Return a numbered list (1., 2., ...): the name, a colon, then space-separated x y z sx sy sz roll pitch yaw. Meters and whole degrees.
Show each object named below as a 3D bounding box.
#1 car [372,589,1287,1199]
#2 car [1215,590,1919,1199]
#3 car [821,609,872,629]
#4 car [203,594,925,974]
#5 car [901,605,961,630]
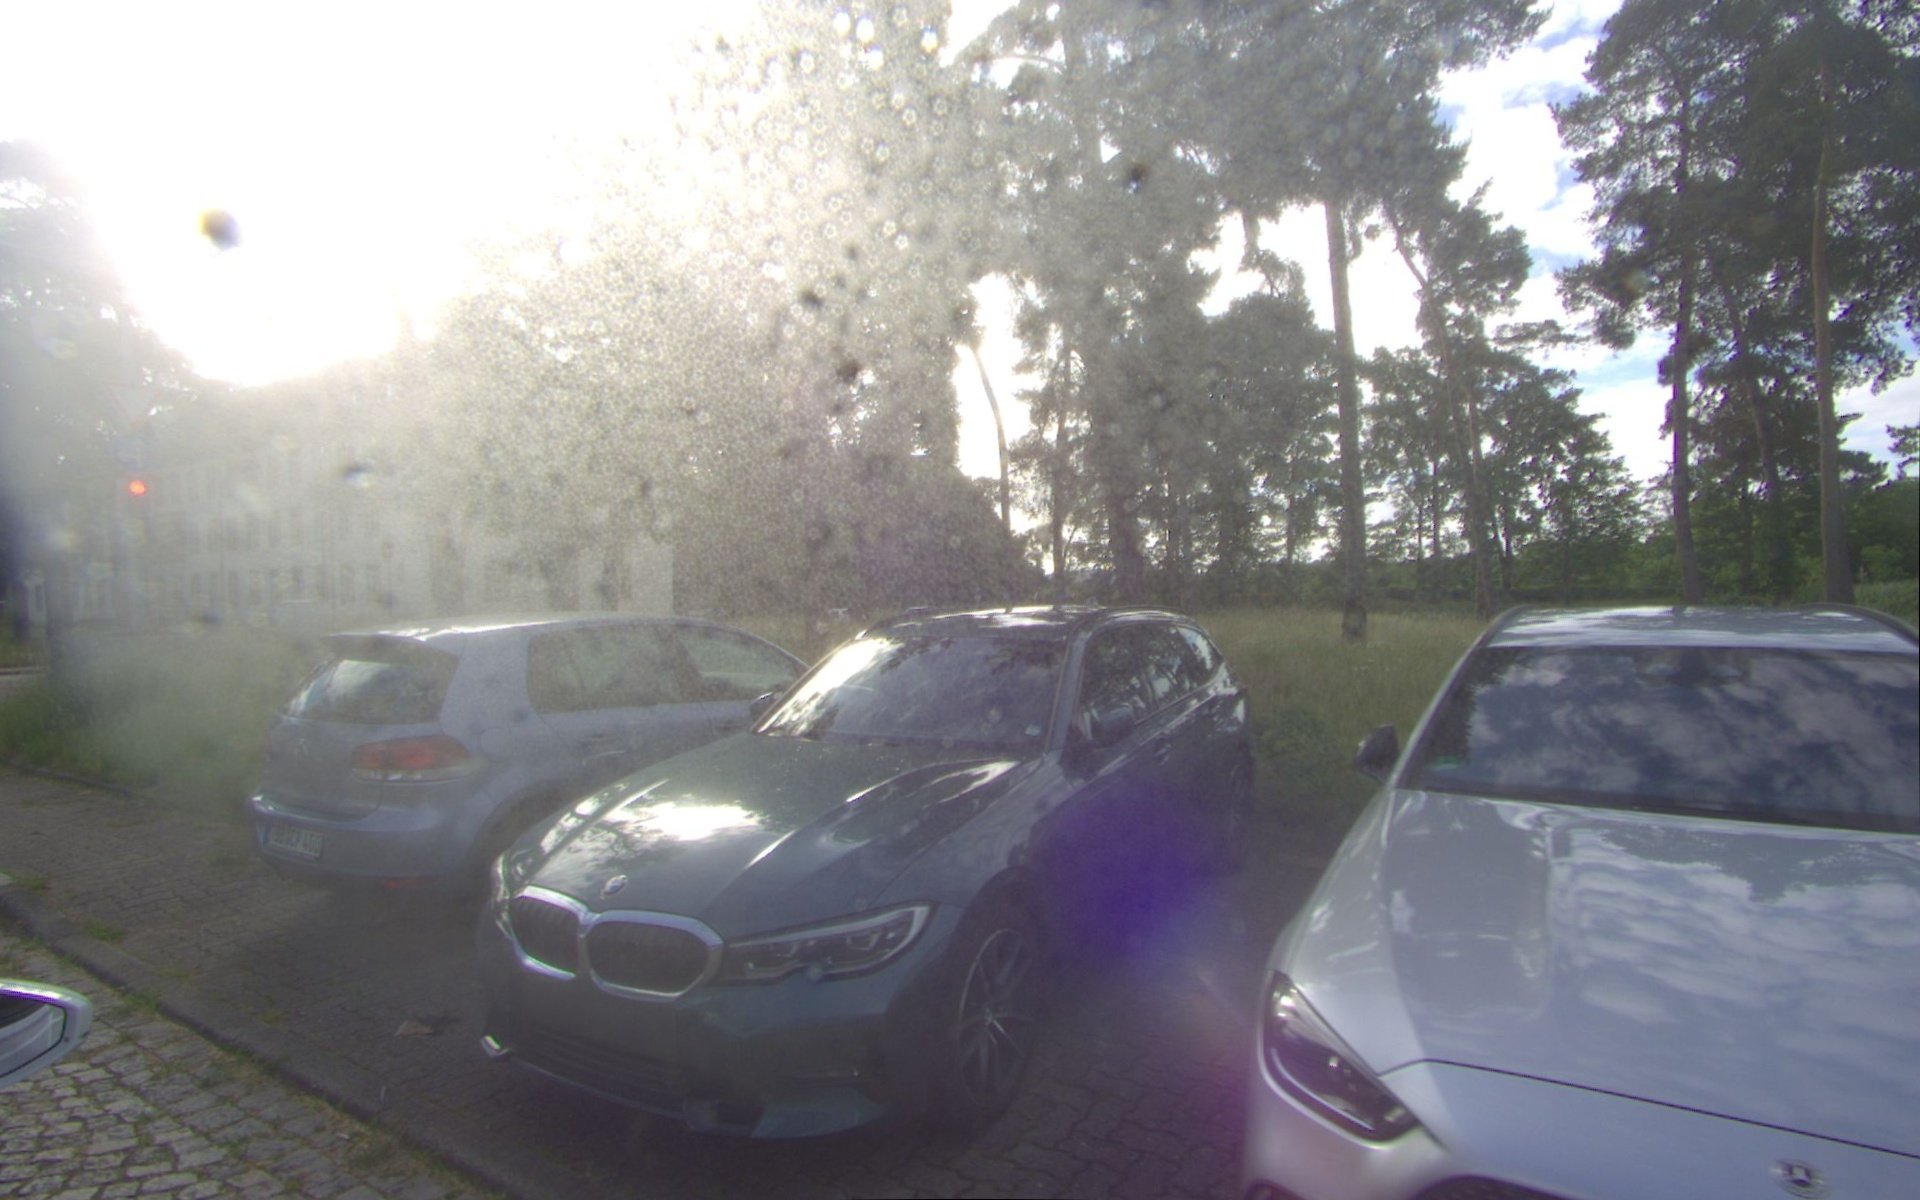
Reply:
1. car: 0.085 0.735 4.590 1.781 1.503 4.506 0 0 30
2. car: 2.322 0.715 3.131 1.741 1.448 4.316 0 1 32
3. car: -8.258 1.410 73.406 1.541 1.415 3.980 -1 -3 33
4. car: -1.959 0.733 6.047 1.618 1.490 3.834 0 1 32
5. car: -1.991 1.201 67.905 3.922 1.622 1.999 -1 0 -4
